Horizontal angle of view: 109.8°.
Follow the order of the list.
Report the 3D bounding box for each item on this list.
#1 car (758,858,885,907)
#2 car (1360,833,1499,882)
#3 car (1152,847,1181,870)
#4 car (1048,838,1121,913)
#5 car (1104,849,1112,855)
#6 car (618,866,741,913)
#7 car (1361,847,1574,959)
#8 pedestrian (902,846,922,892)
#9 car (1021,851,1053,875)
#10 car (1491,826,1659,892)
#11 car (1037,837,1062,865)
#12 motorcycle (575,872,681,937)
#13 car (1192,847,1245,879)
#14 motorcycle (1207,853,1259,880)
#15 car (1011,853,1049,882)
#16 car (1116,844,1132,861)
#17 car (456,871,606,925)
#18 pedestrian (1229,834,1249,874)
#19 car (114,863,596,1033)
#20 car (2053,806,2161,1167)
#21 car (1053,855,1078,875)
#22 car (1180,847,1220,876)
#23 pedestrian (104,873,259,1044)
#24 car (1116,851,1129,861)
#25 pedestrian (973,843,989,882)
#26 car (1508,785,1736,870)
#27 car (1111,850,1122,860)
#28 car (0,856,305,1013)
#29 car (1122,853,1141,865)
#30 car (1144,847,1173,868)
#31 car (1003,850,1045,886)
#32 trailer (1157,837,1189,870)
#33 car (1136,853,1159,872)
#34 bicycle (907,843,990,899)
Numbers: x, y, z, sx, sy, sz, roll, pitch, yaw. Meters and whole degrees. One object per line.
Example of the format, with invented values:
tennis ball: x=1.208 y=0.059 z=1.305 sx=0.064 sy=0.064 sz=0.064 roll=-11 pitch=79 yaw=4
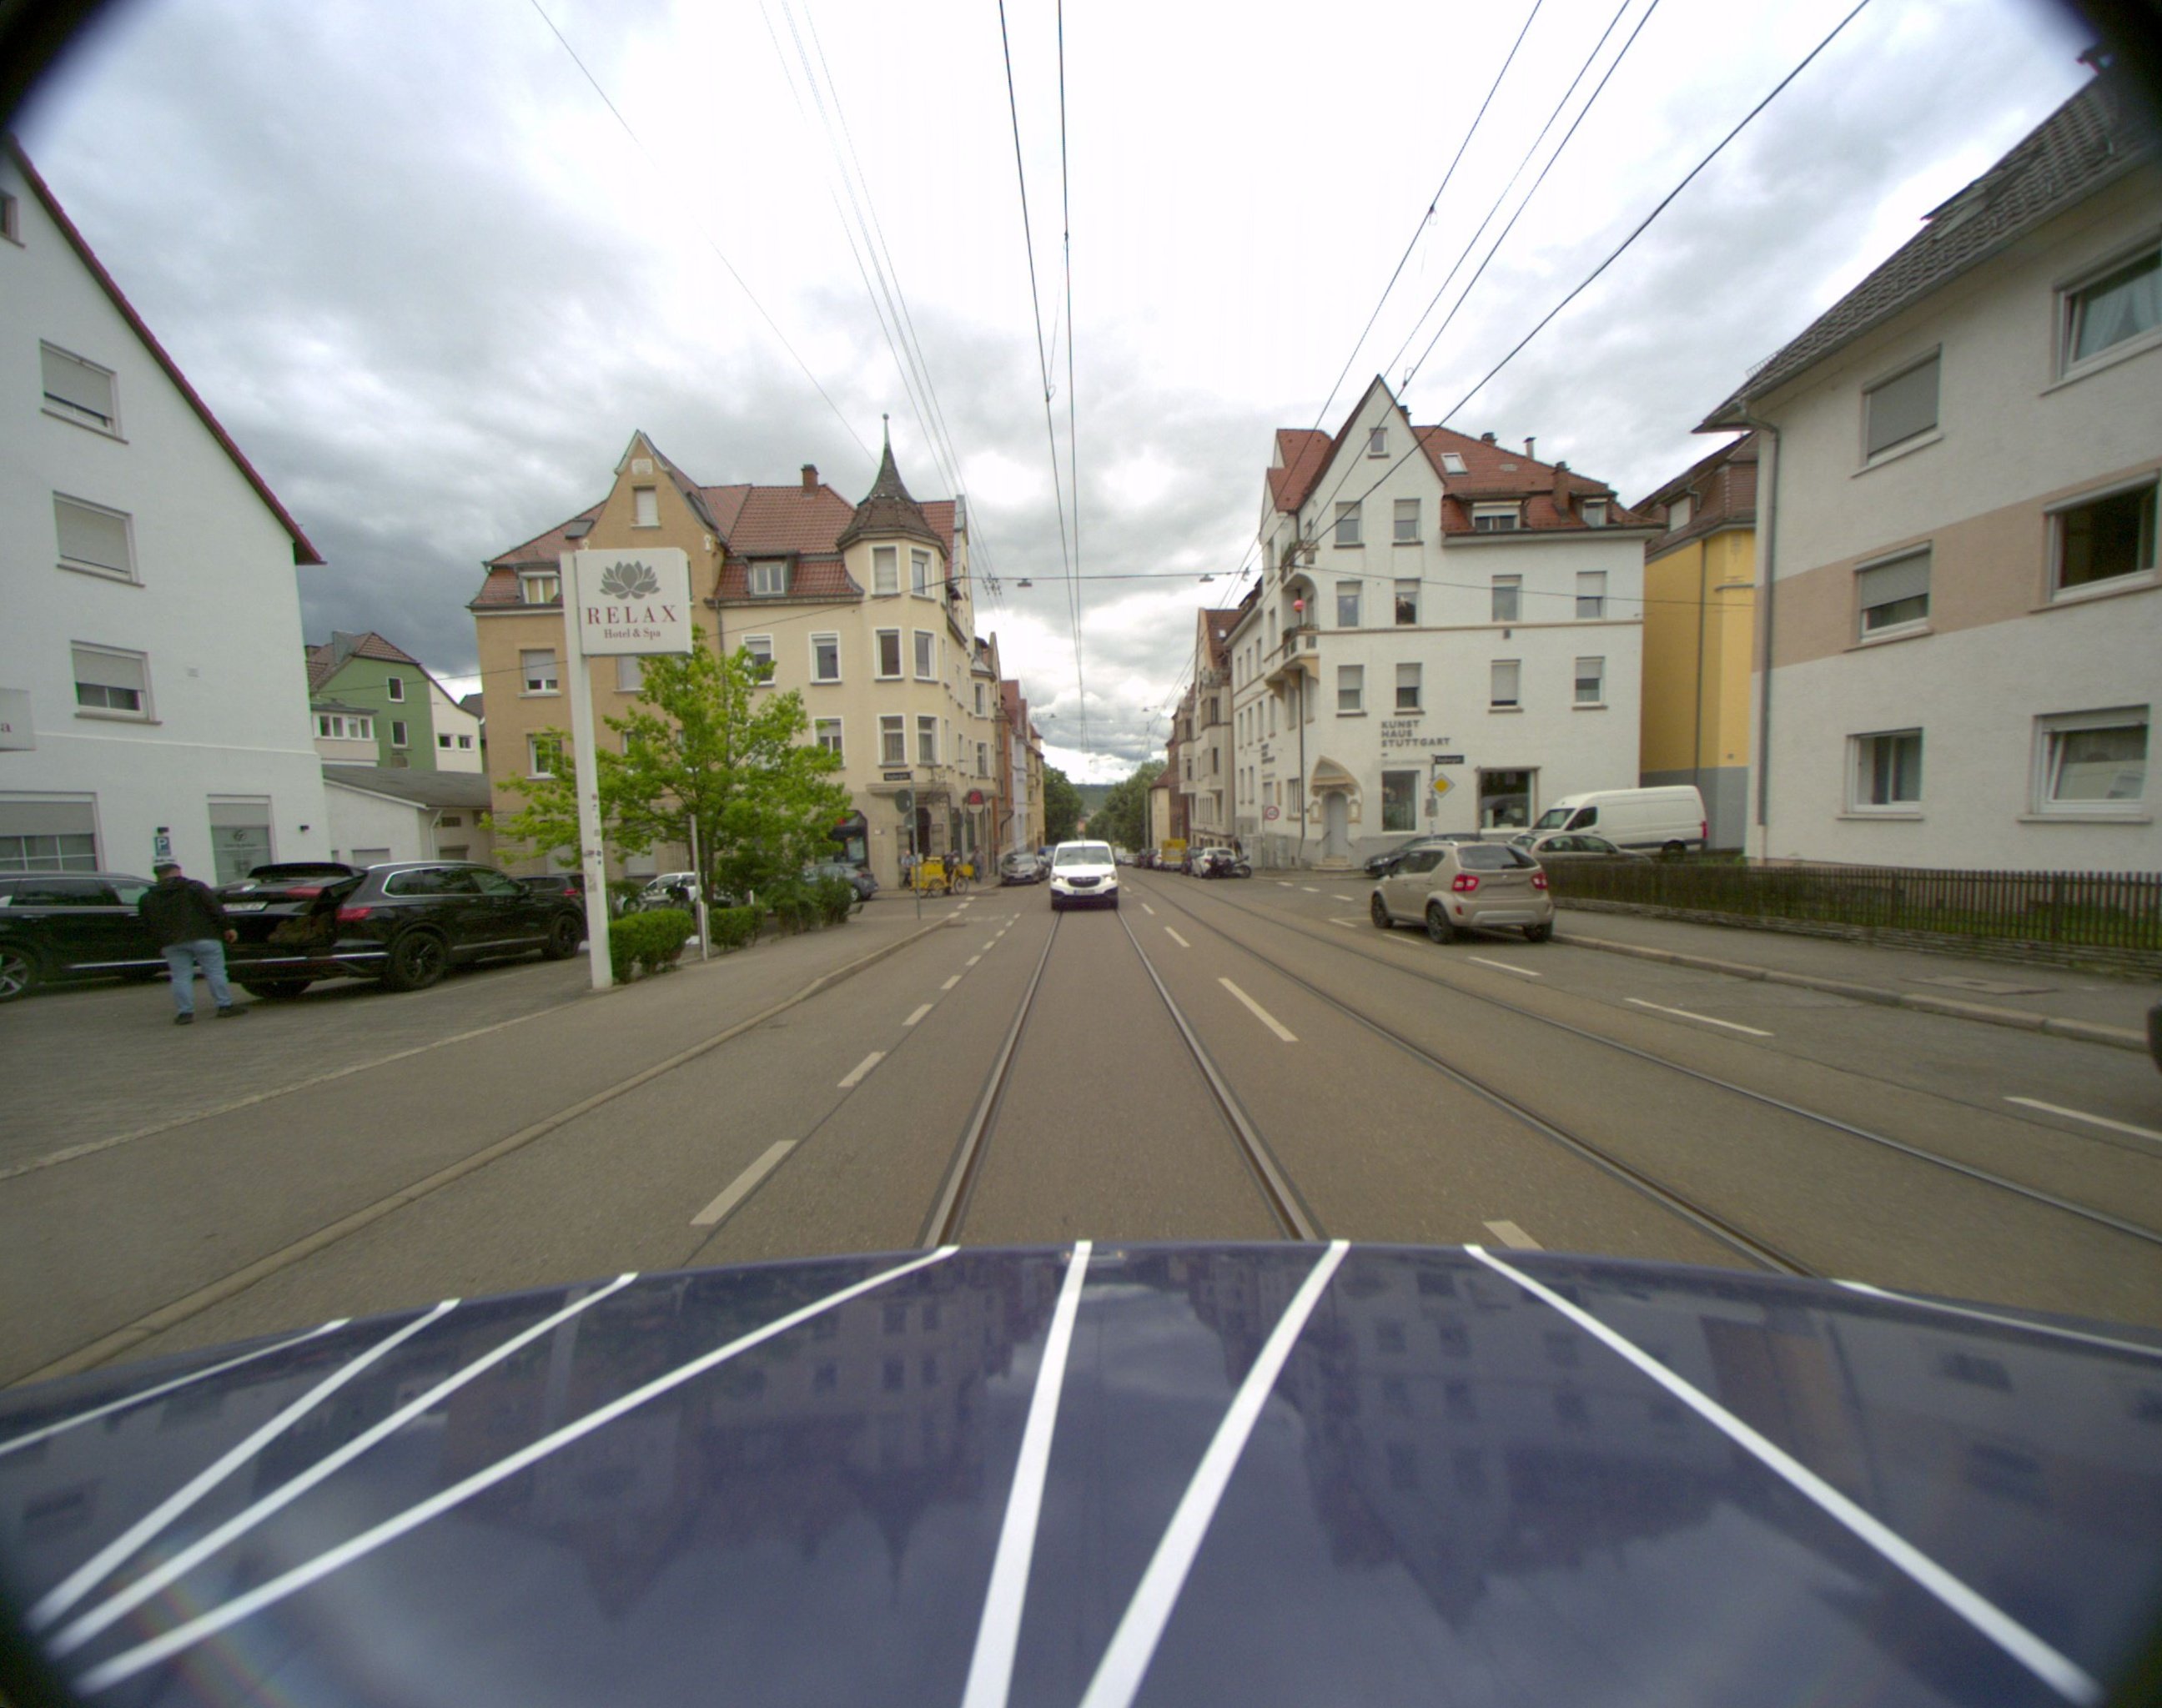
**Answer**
car: x=-9.070 y=0.989 z=26.763 sx=3.857 sy=1.455 sz=1.580 roll=-3 pitch=1 yaw=-2
car: x=12.076 y=0.096 z=26.486 sx=3.997 sy=1.455 sz=1.754 roll=-3 pitch=1 yaw=2
car: x=6.262 y=0.315 z=56.090 sx=1.701 sy=1.584 sz=4.268 roll=0 pitch=0 yaw=1
car: x=0.142 y=0.517 z=21.299 sx=1.759 sy=1.824 sz=4.448 roll=-2 pitch=0 yaw=1
car: x=7.123 y=-0.484 z=198.655 sx=1.856 sy=1.532 sz=3.948 roll=-2 pitch=0 yaw=0
car: x=-14.167 y=1.227 z=26.950 sx=3.442 sy=1.381 sz=1.580 roll=-3 pitch=1 yaw=-2
car: x=6.246 y=0.688 z=12.812 sx=1.701 sy=1.547 sz=3.850 roll=-2 pitch=0 yaw=2
pedestrian: x=-6.507 y=0.584 z=29.282 sx=0.483 sy=1.757 sz=0.493 roll=-2 pitch=1 yaw=34
car: x=-2.777 y=0.534 z=48.385 sx=1.755 sy=1.382 sz=4.307 roll=-4 pitch=0 yaw=-1
car: x=13.703 y=0.106 z=21.236 sx=3.523 sy=1.485 sz=1.775 roll=-3 pitch=6 yaw=1
car: x=-2.848 y=-0.289 z=70.409 sx=1.998 sy=2.363 sz=5.055 roll=-2 pitch=1 yaw=0
motorcycle: x=-10.315 y=1.111 z=17.440 sx=0.929 sy=1.099 sz=2.382 roll=-3 pitch=5 yaw=-1
car: x=6.357 y=0.399 z=35.607 sx=1.784 sy=1.349 sz=4.291 roll=-2 pitch=0 yaw=2
motorcycle: x=6.539 y=0.525 z=32.653 sx=2.111 sy=1.127 sz=0.767 roll=0 pitch=0 yaw=14
car: x=-2.759 y=0.683 z=42.259 sx=1.784 sy=1.382 sz=4.691 roll=-4 pitch=0 yaw=-1
car: x=6.941 y=-0.254 z=123.528 sx=2.164 sy=2.591 sz=6.218 roll=1 pitch=0 yaw=-1
car: x=-19.224 y=1.521 z=26.665 sx=3.985 sy=1.572 sz=1.580 roll=-3 pitch=1 yaw=-2
pedestrian: x=7.829 y=-0.009 z=37.667 sx=0.590 sy=1.895 sz=0.811 roll=-7 pitch=1 yaw=0
car: x=-9.536 y=1.058 z=10.845 sx=1.999 sy=1.673 sz=5.094 roll=-2 pitch=0 yaw=-2
car: x=5.988 y=0.646 z=1.756 sx=1.748 sy=1.726 sz=4.519 roll=0 pitch=0 yaw=2
car: x=-1.206 y=0.861 z=61.679 sx=1.784 sy=1.466 sz=4.589 roll=-4 pitch=0 yaw=0
car: x=6.353 y=0.368 z=40.763 sx=1.701 sy=1.460 sz=3.023 roll=0 pitch=1 yaw=1
pedestrian: x=-9.596 y=1.079 z=8.140 sx=0.646 sy=1.697 sz=0.767 roll=-2 pitch=1 yaw=1
car: x=6.140 y=0.300 z=113.235 sx=1.723 sy=1.394 sz=4.313 roll=1 pitch=0 yaw=0
pedestrian: x=-4.674 y=0.411 z=35.662 sx=0.600 sy=1.793 sz=0.631 roll=-2 pitch=1 yaw=0
car: x=18.542 y=-0.899 z=26.303 sx=6.207 sy=2.517 sz=2.191 roll=-3 pitch=1 yaw=2
car: x=6.399 y=0.176 z=138.049 sx=1.766 sy=1.765 sz=4.668 roll=2 pitch=1 yaw=2
car: x=-14.417 y=1.046 z=10.753 sx=1.999 sy=1.900 sz=4.703 roll=-2 pitch=1 yaw=-1
car: x=6.331 y=0.584 z=95.215 sx=1.832 sy=1.420 sz=4.626 roll=2 pitch=0 yaw=-2
car: x=6.314 y=0.250 z=62.224 sx=1.878 sy=1.654 sz=4.892 roll=0 pitch=0 yaw=1
car: x=-2.710 y=0.640 z=36.866 sx=1.739 sy=1.528 sz=4.573 roll=-4 pitch=0 yaw=-2
trailer: x=6.229 y=-0.023 z=51.948 sx=1.753 sy=2.143 sz=4.071 roll=0 pitch=0 yaw=1
car: x=6.162 y=0.789 z=70.817 sx=1.832 sy=1.708 sz=4.913 roll=0 pitch=0 yaw=1
bicycle: x=-4.742 y=0.589 z=27.375 sx=1.179 sy=1.855 sz=2.734 roll=-2 pitch=1 yaw=42
